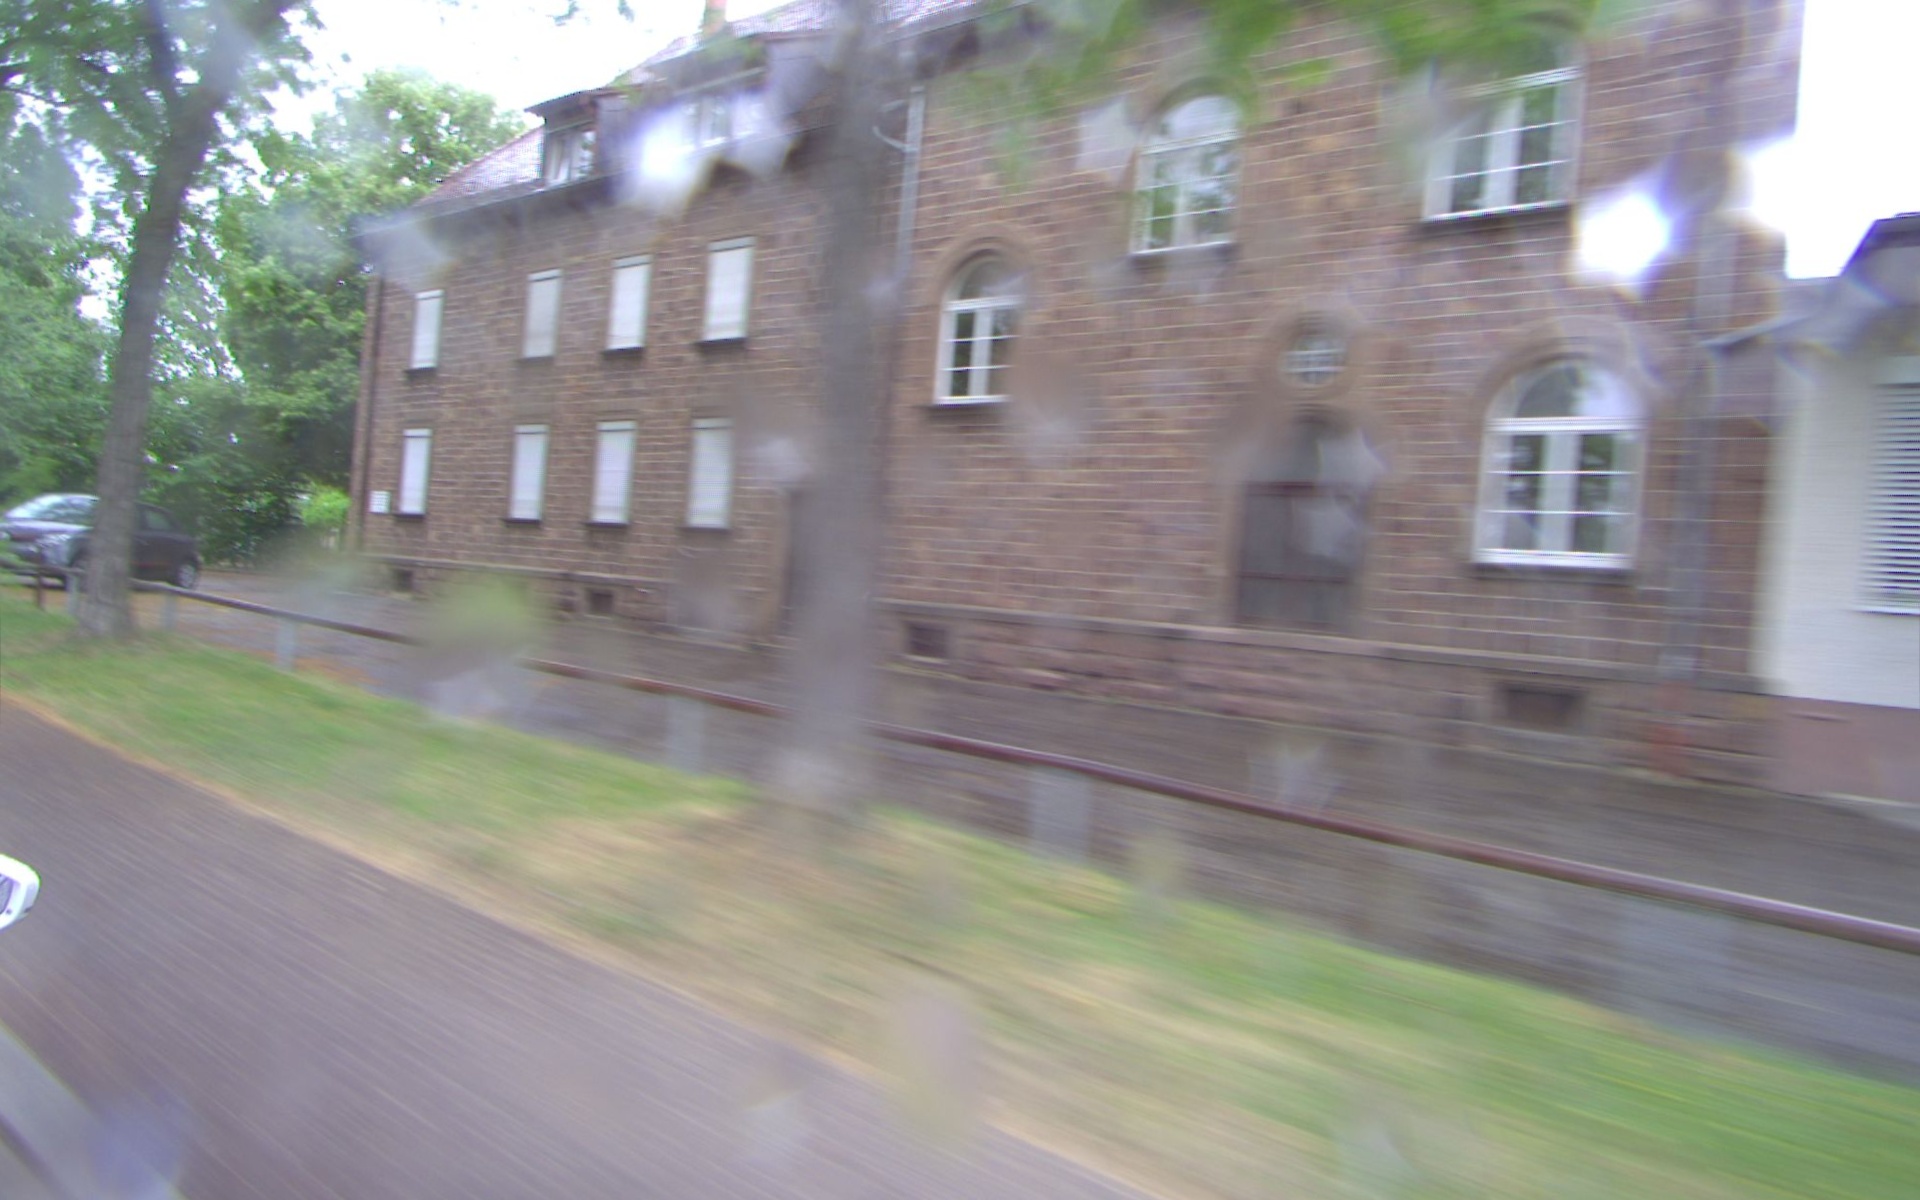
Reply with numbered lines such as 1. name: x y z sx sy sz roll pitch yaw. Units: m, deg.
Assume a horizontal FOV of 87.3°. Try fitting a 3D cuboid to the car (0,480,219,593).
1. car: -14.555 -1.002 16.899 1.592 1.570 3.611 6 -1 -4
